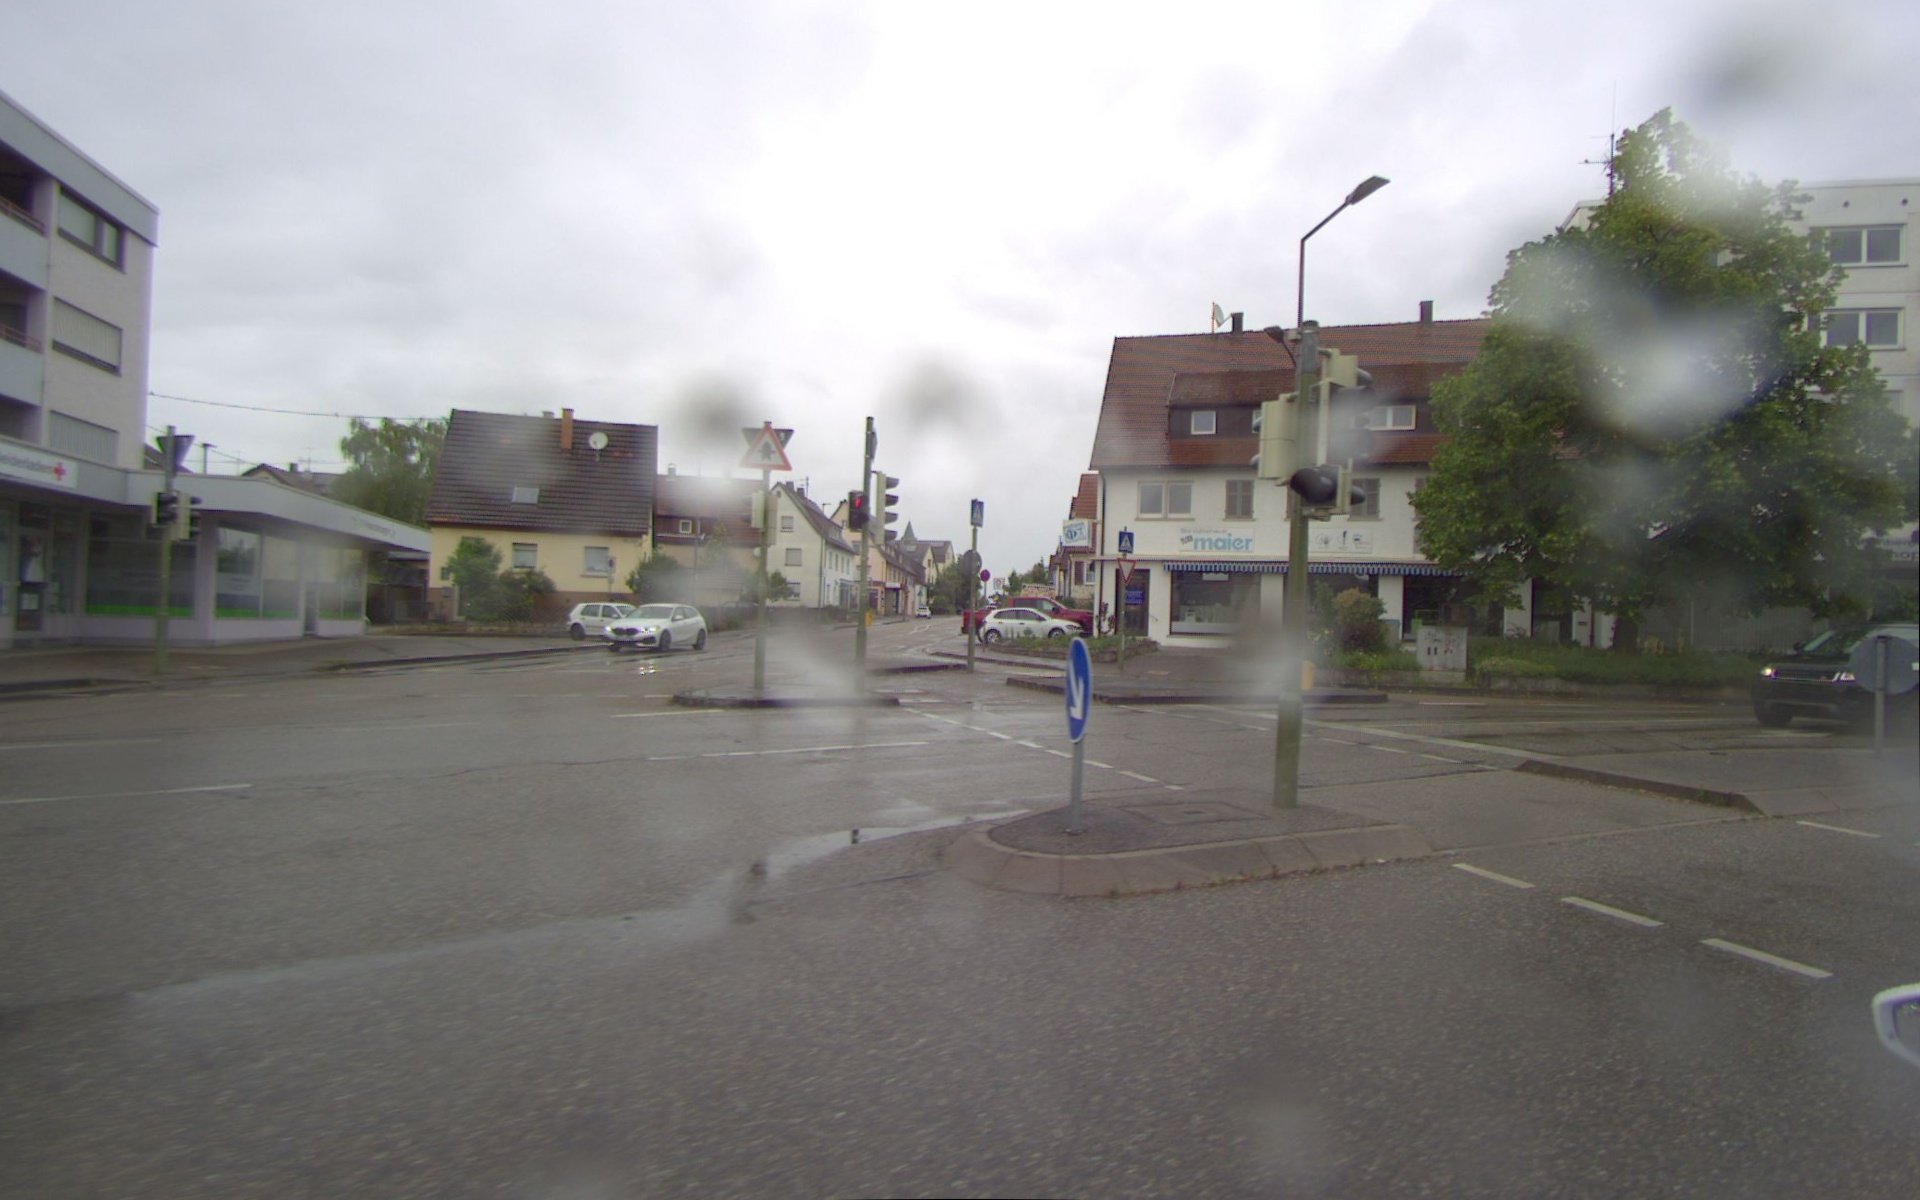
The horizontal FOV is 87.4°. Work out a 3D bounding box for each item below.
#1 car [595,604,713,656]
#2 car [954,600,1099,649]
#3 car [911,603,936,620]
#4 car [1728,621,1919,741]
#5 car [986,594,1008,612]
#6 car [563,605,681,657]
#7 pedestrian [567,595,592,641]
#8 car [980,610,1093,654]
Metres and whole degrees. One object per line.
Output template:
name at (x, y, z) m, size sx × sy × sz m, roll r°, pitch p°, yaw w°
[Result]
car at (-9.386, 0.897, 31.147) m, size 1.797 × 1.453 × 4.290 m, roll 1°, pitch 0°, yaw 9°
car at (2.789, 0.986, 41.981) m, size 5.734 × 1.867 × 2.001 m, roll 1°, pitch 0°, yaw 15°
car at (-4.543, 1.454, 124.373) m, size 1.960 × 2.040 × 4.002 m, roll 1°, pitch 0°, yaw 15°
car at (13.895, 1.150, 15.116) m, size 4.255 × 1.577 × 1.799 m, roll 1°, pitch 0°, yaw -22°
car at (4.493, 0.379, 121.075) m, size 1.959 × 2.040 × 4.002 m, roll 1°, pitch 0°, yaw 11°
car at (-12.435, 1.098, 36.954) m, size 3.842 × 1.756 × 1.834 m, roll 1°, pitch 0°, yaw 22°
pedestrian at (-15.782, 0.740, 41.672) m, size 0.835 × 1.882 × 0.723 m, roll 1°, pitch 0°, yaw -14°
car at (2.978, 1.215, 38.955) m, size 3.922 × 1.546 × 2.000 m, roll 1°, pitch 0°, yaw 21°
